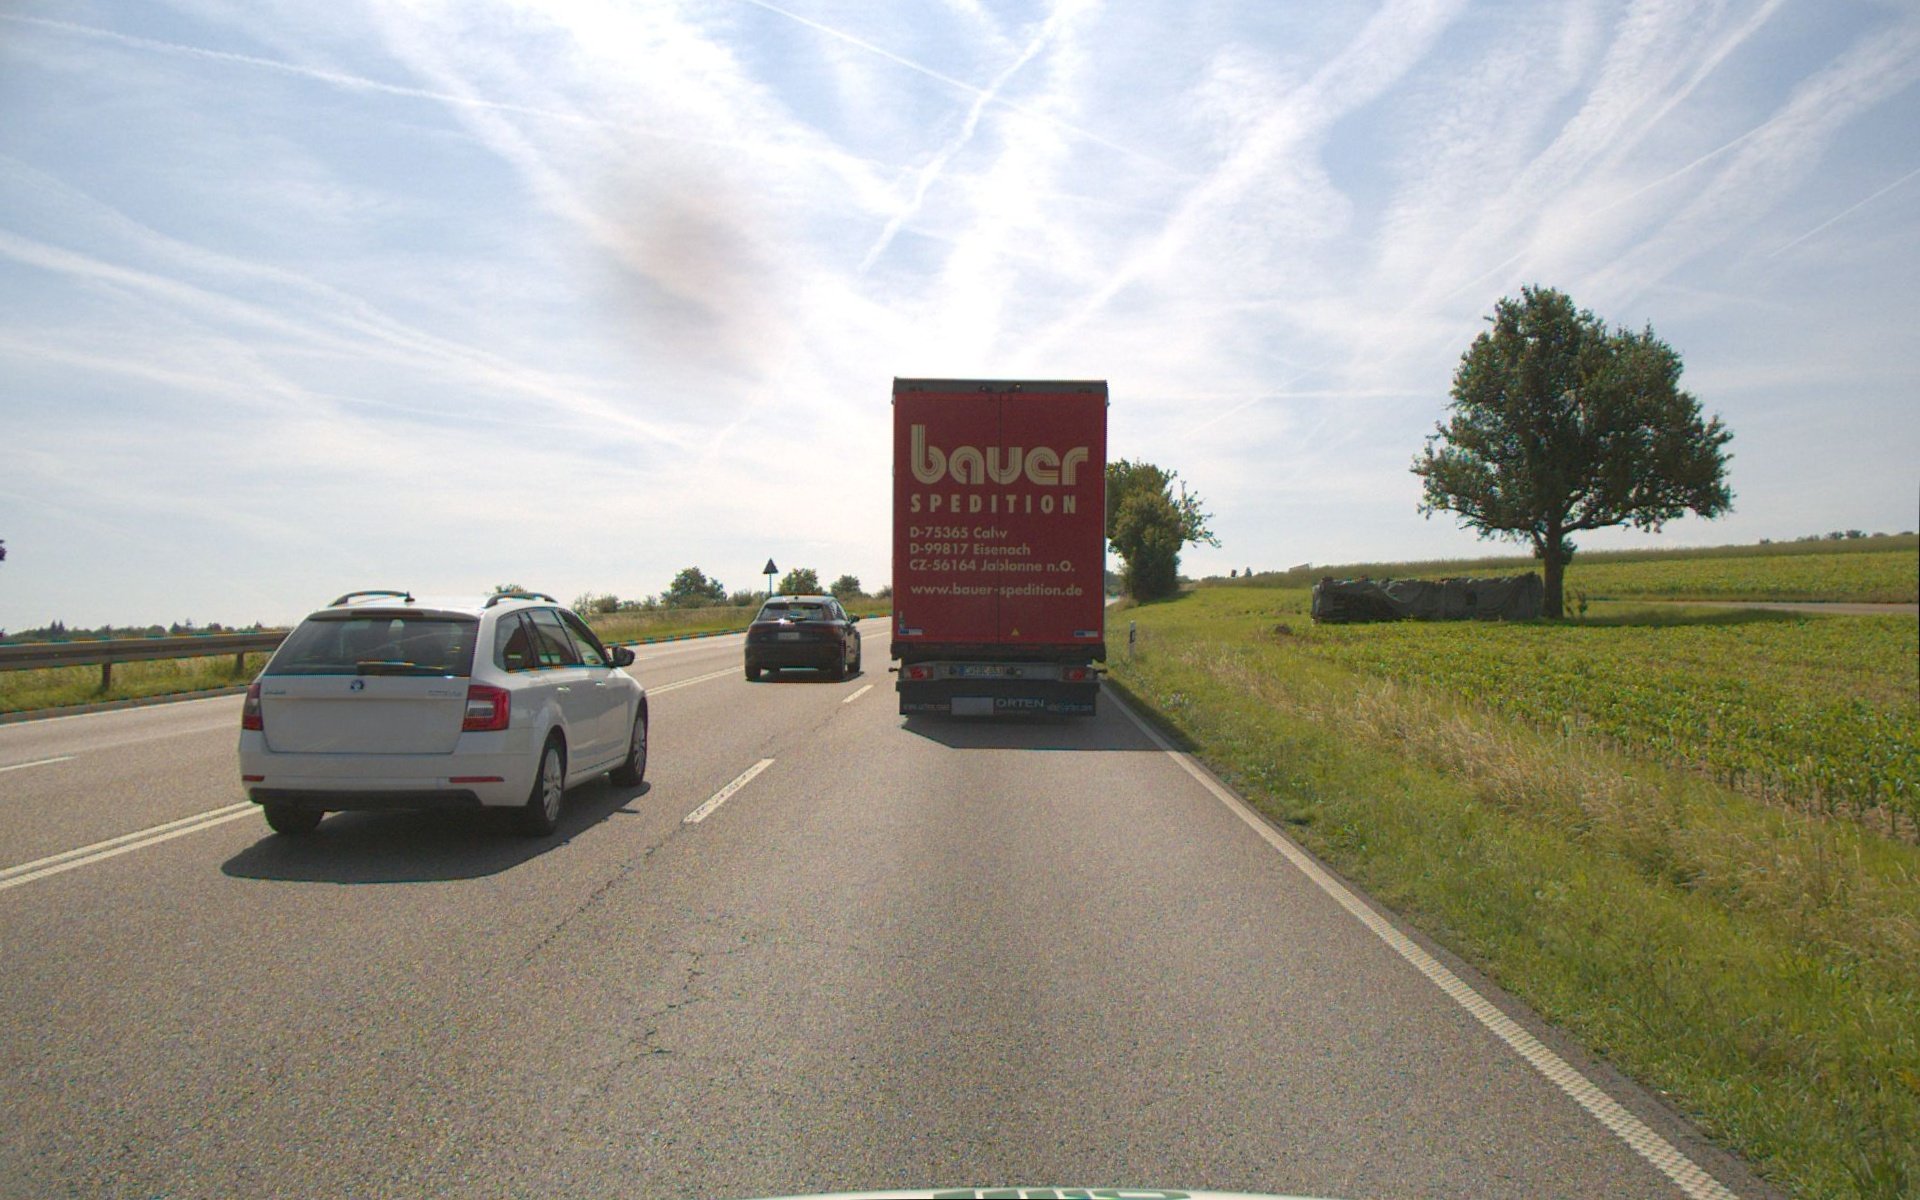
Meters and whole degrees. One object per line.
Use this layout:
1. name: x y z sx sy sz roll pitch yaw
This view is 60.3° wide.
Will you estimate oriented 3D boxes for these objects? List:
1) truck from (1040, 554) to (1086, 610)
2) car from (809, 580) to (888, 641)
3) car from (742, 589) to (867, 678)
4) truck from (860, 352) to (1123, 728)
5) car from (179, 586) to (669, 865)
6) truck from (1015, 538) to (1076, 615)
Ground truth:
1. truck: 8.058 -1.351 127.265 2.982 3.978 18.409 0 0 5
2. car: -3.615 0.336 54.507 1.865 1.917 5.434 0 0 4
3. car: -2.763 0.566 30.392 1.669 1.498 4.812 0 0 2
4. truck: 0.436 -0.695 27.252 2.945 4.253 16.714 1 0 1
5. car: -3.342 0.669 11.408 1.783 1.498 4.789 1 0 0
6. truck: 4.981 -1.252 93.789 2.983 3.978 15.624 0 0 4
